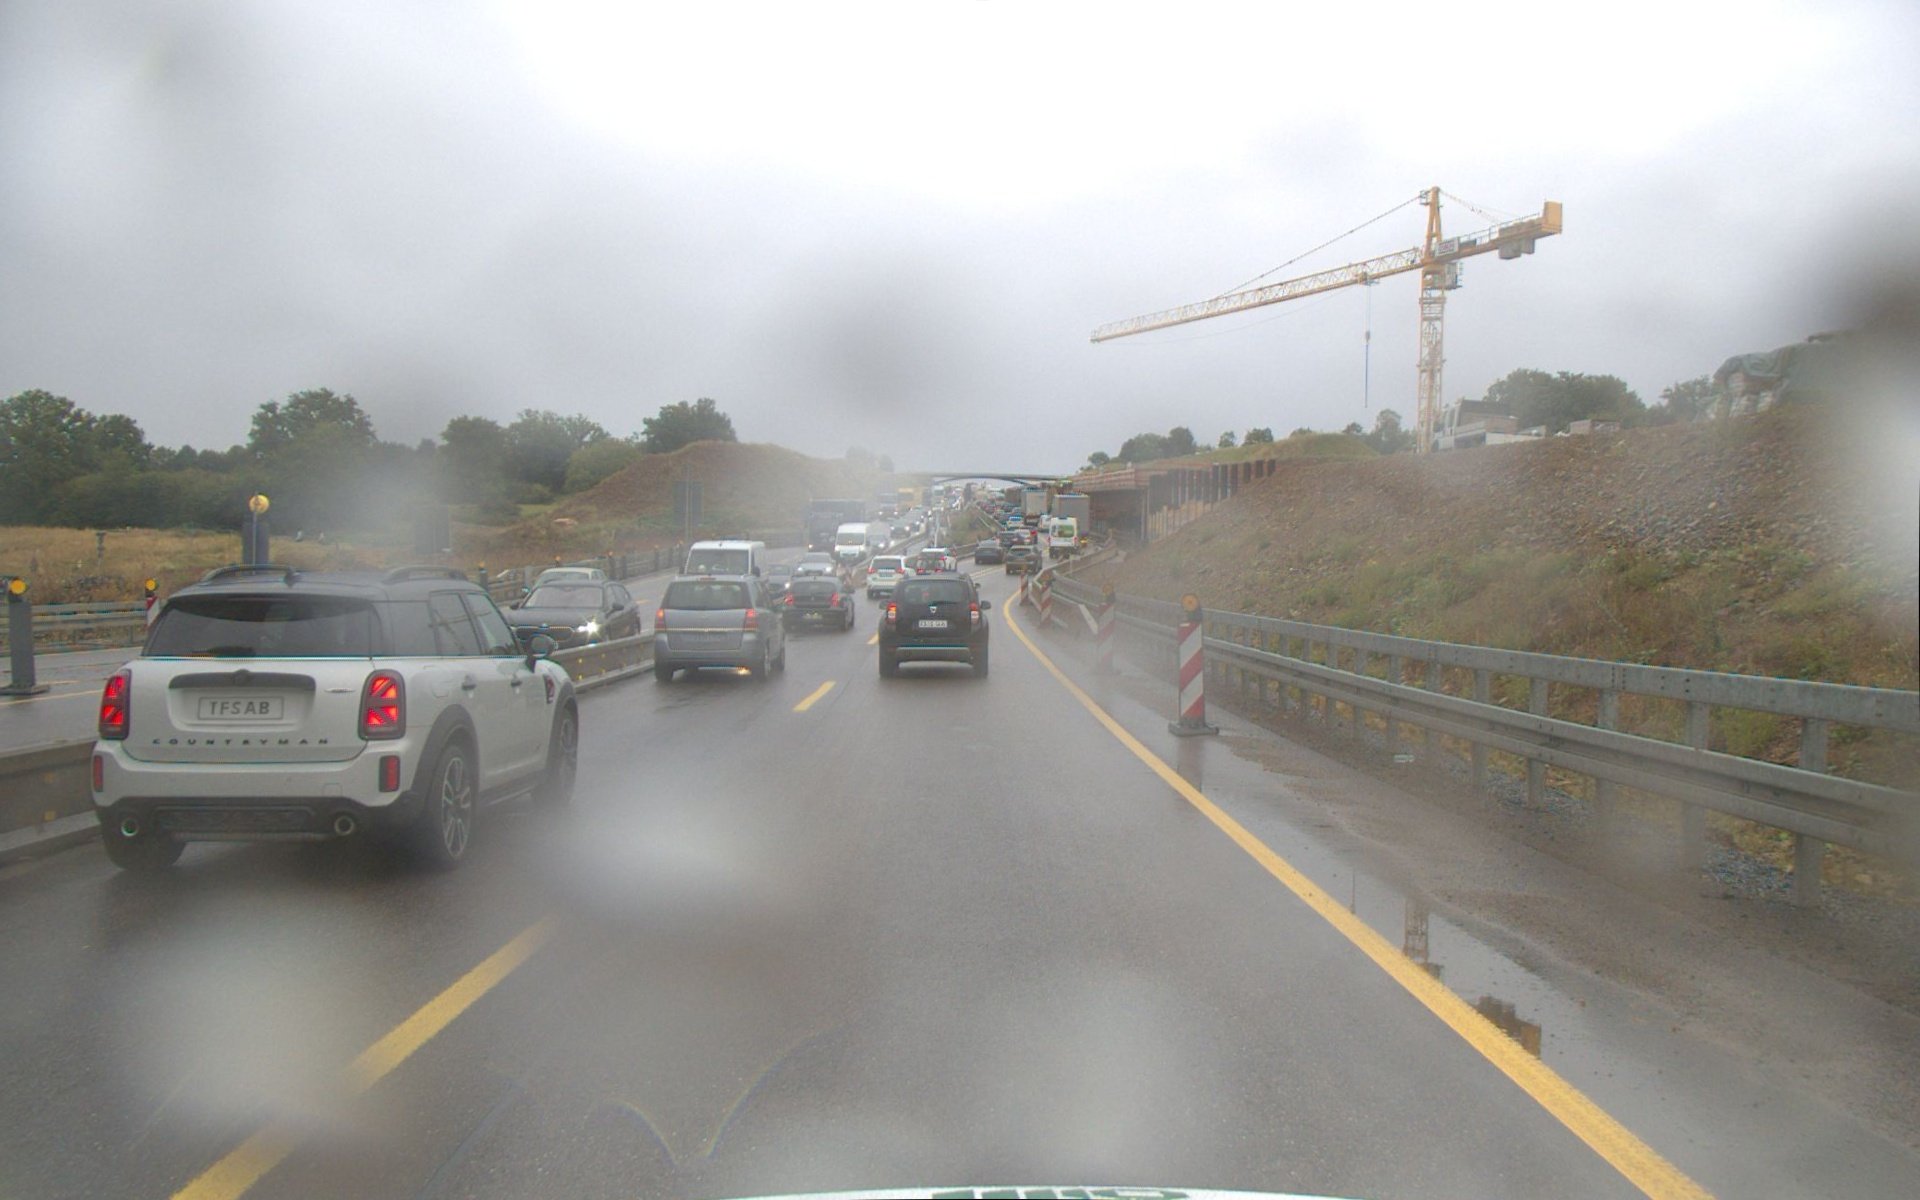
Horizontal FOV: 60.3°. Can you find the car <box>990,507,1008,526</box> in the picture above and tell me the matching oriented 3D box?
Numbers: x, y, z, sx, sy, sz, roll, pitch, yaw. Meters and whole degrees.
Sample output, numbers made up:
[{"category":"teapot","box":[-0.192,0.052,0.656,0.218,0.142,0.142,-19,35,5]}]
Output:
[{"category":"car","box":[4.460,-9.682,191.748,1.953,2.048,4.000,-1,2,-1]}]

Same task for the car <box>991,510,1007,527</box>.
[{"category":"car","box":[5.026,-10.622,215.936,1.953,2.048,4.000,-1,2,-1]}]

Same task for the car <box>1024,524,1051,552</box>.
[{"category":"car","box":[6.669,-5.277,141.799,1.951,2.200,4.144,0,0,9]}]

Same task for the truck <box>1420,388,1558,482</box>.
[{"category":"truck","box":[18.711,-5.785,58.937,2.591,2.599,6.983,0,0,-1]}]

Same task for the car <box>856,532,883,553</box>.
[{"category":"car","box":[-6.701,-4.228,122.217,1.831,1.496,4.670,0,2,-1]}]

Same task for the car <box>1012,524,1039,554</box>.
[{"category":"car","box":[5.217,-4.814,131.436,1.951,2.200,4.143,0,0,5]}]

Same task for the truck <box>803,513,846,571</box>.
[{"category":"truck","box":[-9.679,-4.204,118.954,2.588,4.039,9.213,0,2,-1]}]

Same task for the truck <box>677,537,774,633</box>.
[{"category":"truck","box":[-6.735,-0.411,48.121,2.036,2.621,5.961,0,0,-1]}]

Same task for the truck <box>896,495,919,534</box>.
[{"category":"truck","box":[-7.853,-12.820,249.059,3.077,5.511,8.525,1,2,1]}]

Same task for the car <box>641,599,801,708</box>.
[{"category":"car","box":[-3.782,0.804,26.859,1.952,1.628,4.140,0,0,0]}]

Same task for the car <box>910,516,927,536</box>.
[{"category":"car","box":[-4.385,-7.821,174.963,1.749,1.841,4.499,0,0,0]}]

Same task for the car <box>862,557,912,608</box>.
[{"category":"car","box":[-2.986,-0.716,68.545,1.953,2.049,3.892,0,0,-1]}]

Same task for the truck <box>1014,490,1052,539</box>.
[{"category":"truck","box":[8.642,-10.161,197.788,3.726,5.131,12.919,0,0,-1]}]

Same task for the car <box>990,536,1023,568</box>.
[{"category":"car","box":[3.389,-3.441,119.868,1.951,2.200,4.143,0,0,7]}]

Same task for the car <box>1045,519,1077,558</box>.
[{"category":"car","box":[7.171,-4.327,116.554,1.951,2.528,4.985,0,0,7]}]

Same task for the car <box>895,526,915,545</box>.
[{"category":"car","box":[-5.126,-6.068,154.565,1.702,1.713,5.553,1,2,0]}]

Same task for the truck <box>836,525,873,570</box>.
[{"category":"truck","box":[-6.713,-3.339,105.690,2.104,2.760,6.016,0,1,-1]}]

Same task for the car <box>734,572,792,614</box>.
[{"category":"car","box":[-7.602,-0.276,64.047,1.750,1.565,4.311,0,1,0]}]

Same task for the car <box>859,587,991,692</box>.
[{"category":"car","box":[-0.530,0.627,27.842,2.038,1.628,4.140,0,0,0]}]

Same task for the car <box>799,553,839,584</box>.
[{"category":"car","box":[-7.059,-1.591,83.073,1.642,1.550,4.345,0,1,-1]}]

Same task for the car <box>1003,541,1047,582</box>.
[{"category":"car","box":[3.741,-2.174,94.704,1.951,2.200,4.144,0,0,10]}]

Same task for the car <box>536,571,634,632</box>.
[{"category":"car","box":[-10.008,0.009,44.401,1.751,1.573,4.000,0,1,-1]}]

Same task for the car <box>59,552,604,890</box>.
[{"category":"car","box":[-3.497,0.569,10.147,1.779,1.628,4.307,0,0,-1]}]

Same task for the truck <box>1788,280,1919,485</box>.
[{"category":"truck","box":[23.148,-5.195,40.851,2.325,4.292,5.978,0,0,-1]}]

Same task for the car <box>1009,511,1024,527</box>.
[{"category":"car","box":[8.009,-11.398,233.689,1.953,2.049,3.999,0,0,-1]}]

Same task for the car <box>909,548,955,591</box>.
[{"category":"car","box":[-1.468,-1.590,88.311,1.951,2.200,4.143,0,0,7]}]

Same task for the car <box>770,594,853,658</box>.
[{"category":"car","box":[-3.926,0.665,44.263,1.953,1.628,4.139,0,0,-2]}]

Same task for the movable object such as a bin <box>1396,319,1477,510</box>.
[{"category":"movable object such as a bin","box":[30.502,-11.592,106.329,4.618,11.032,10.311,0,0,14]}]

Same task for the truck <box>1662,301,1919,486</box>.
[{"category":"truck","box":[18.822,-4.271,36.207,3.325,2.925,8.961,0,0,1]}]

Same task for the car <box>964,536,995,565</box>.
[{"category":"car","box":[1.275,-3.219,107.849,1.952,1.792,3.815,0,0,1]}]

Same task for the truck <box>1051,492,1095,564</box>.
[{"category":"truck","box":[9.417,-5.829,136.937,3.035,5.521,9.450,0,0,7]}]

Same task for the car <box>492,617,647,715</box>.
[{"category":"car","box":[-6.938,1.117,29.882,1.736,1.531,4.678,0,1,-1]}]

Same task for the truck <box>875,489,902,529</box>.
[{"category":"truck","box":[-9.370,-11.848,216.650,3.019,5.004,8.566,1,2,1]}]

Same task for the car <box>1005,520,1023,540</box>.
[{"category":"car","box":[5.740,-7.452,176.088,1.811,1.927,4.021,0,0,1]}]
